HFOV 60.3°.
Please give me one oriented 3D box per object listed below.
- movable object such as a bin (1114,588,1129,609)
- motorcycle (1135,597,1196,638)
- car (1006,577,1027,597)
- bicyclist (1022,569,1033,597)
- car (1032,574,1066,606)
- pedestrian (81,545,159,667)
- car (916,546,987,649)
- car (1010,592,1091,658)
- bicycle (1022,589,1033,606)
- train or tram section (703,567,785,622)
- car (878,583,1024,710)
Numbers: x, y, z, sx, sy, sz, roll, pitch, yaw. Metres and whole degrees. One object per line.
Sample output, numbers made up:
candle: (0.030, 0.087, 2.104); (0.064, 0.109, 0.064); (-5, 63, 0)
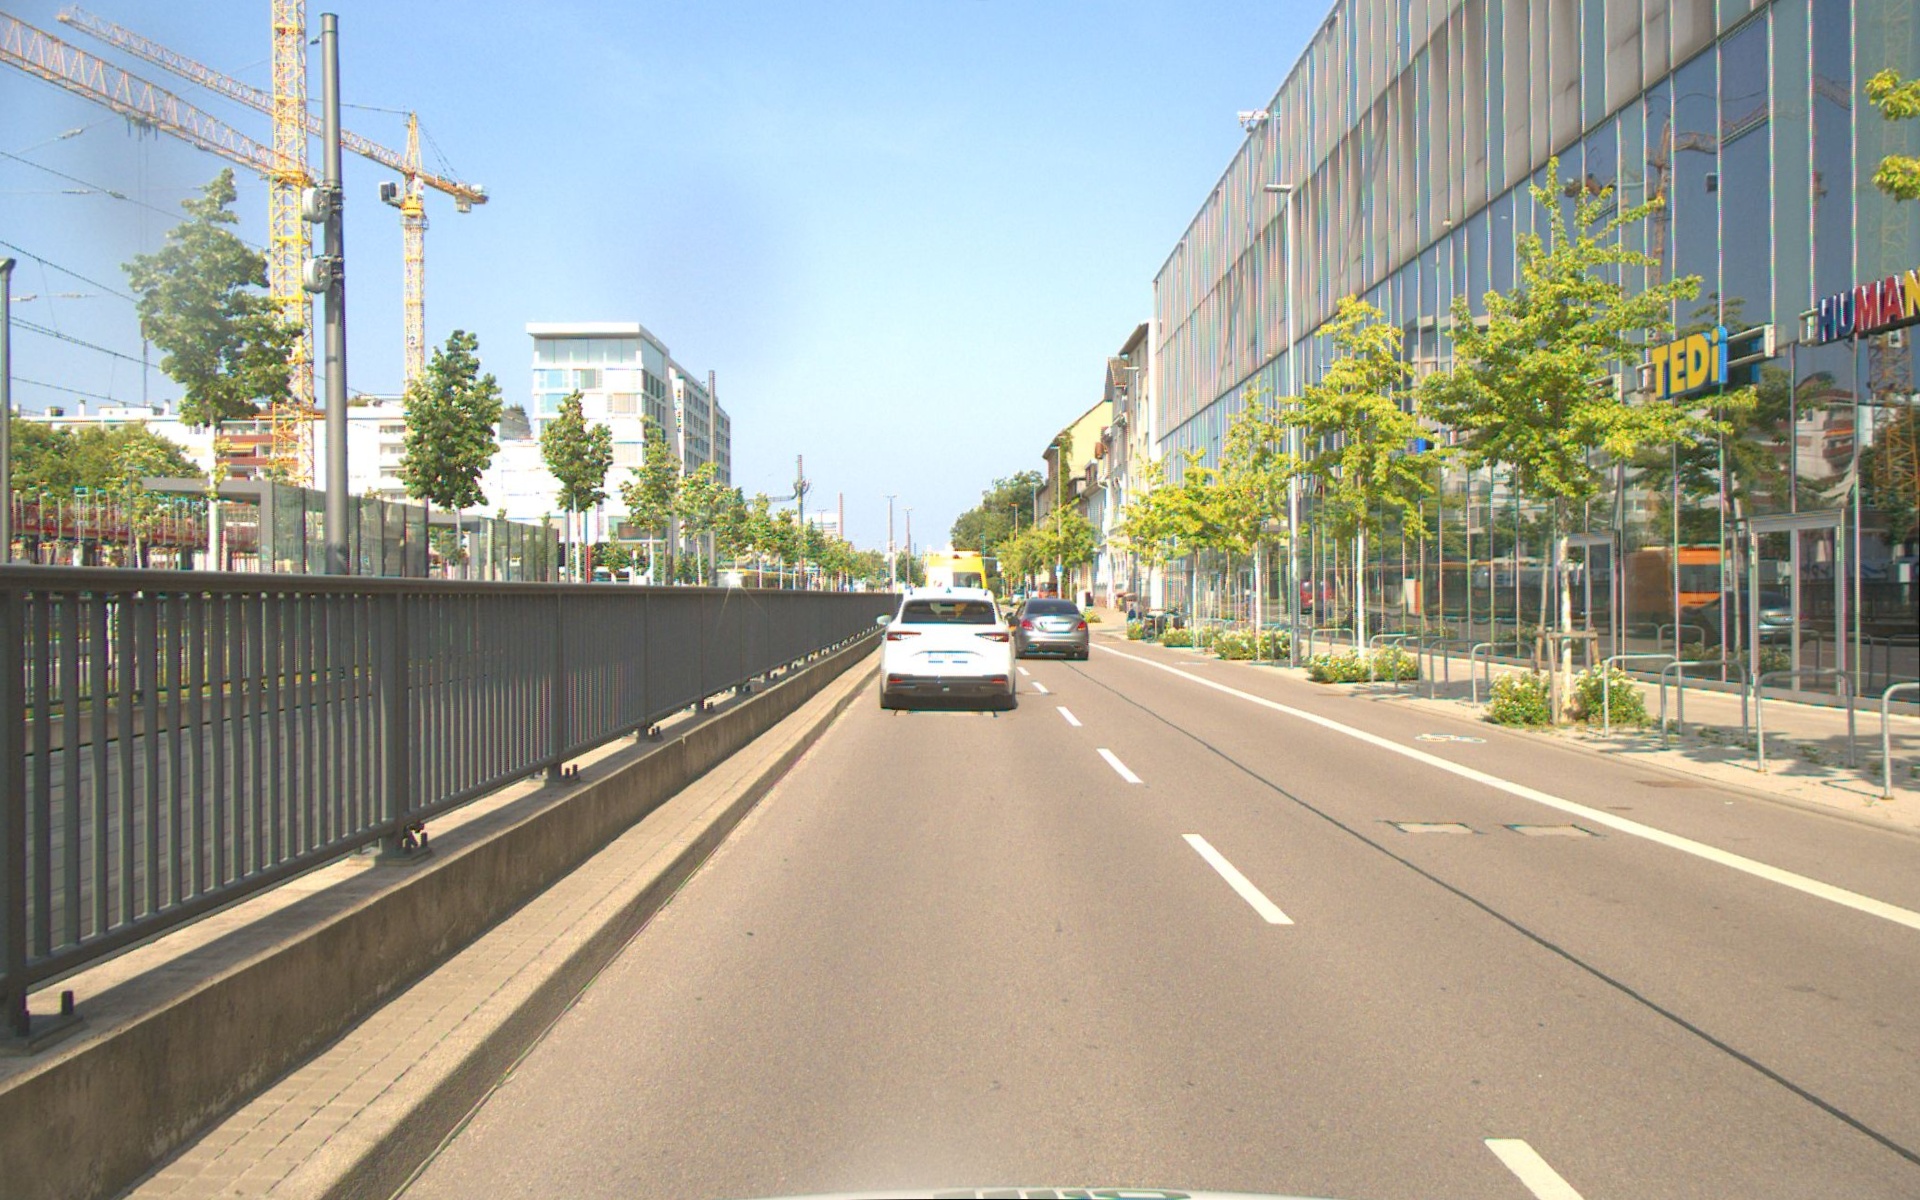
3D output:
movable object such as a bin: (9.494, -0.087, 97.342); (0.666, 1.172, 0.607); (-2, 3, -44)
motorcycle: (7.128, 0.607, 57.428); (1.934, 1.373, 0.865); (-1, 0, -11)
car: (5.278, -1.232, 155.310); (1.775, 1.844, 3.835); (0, 1, -1)
bicyclist: (3.882, -0.978, 94.657); (0.626, 1.604, 0.771); (0, 0, 2)
car: (5.990, -0.710, 111.816); (2.021, 2.048, 4.588); (0, 1, -1)
pedestrian: (-11.611, 0.079, 22.885); (0.721, 1.647, 0.710); (0, 0, -1)
car: (-0.247, -0.169, 49.504); (1.979, 2.844, 5.402); (0, 2, 0)
car: (2.140, 0.573, 40.184); (1.724, 1.461, 4.115); (1, 1, 0)
bicycle: (3.886, -0.125, 95.037); (0.642, 0.955, 1.517); (0, 0, 2)
train or tram section: (-15.912, -0.399, 123.564); (2.845, 3.740, 18.143); (1, 0, 3)
car: (-0.116, 0.573, 22.996); (1.831, 1.602, 4.000); (0, 1, 0)
